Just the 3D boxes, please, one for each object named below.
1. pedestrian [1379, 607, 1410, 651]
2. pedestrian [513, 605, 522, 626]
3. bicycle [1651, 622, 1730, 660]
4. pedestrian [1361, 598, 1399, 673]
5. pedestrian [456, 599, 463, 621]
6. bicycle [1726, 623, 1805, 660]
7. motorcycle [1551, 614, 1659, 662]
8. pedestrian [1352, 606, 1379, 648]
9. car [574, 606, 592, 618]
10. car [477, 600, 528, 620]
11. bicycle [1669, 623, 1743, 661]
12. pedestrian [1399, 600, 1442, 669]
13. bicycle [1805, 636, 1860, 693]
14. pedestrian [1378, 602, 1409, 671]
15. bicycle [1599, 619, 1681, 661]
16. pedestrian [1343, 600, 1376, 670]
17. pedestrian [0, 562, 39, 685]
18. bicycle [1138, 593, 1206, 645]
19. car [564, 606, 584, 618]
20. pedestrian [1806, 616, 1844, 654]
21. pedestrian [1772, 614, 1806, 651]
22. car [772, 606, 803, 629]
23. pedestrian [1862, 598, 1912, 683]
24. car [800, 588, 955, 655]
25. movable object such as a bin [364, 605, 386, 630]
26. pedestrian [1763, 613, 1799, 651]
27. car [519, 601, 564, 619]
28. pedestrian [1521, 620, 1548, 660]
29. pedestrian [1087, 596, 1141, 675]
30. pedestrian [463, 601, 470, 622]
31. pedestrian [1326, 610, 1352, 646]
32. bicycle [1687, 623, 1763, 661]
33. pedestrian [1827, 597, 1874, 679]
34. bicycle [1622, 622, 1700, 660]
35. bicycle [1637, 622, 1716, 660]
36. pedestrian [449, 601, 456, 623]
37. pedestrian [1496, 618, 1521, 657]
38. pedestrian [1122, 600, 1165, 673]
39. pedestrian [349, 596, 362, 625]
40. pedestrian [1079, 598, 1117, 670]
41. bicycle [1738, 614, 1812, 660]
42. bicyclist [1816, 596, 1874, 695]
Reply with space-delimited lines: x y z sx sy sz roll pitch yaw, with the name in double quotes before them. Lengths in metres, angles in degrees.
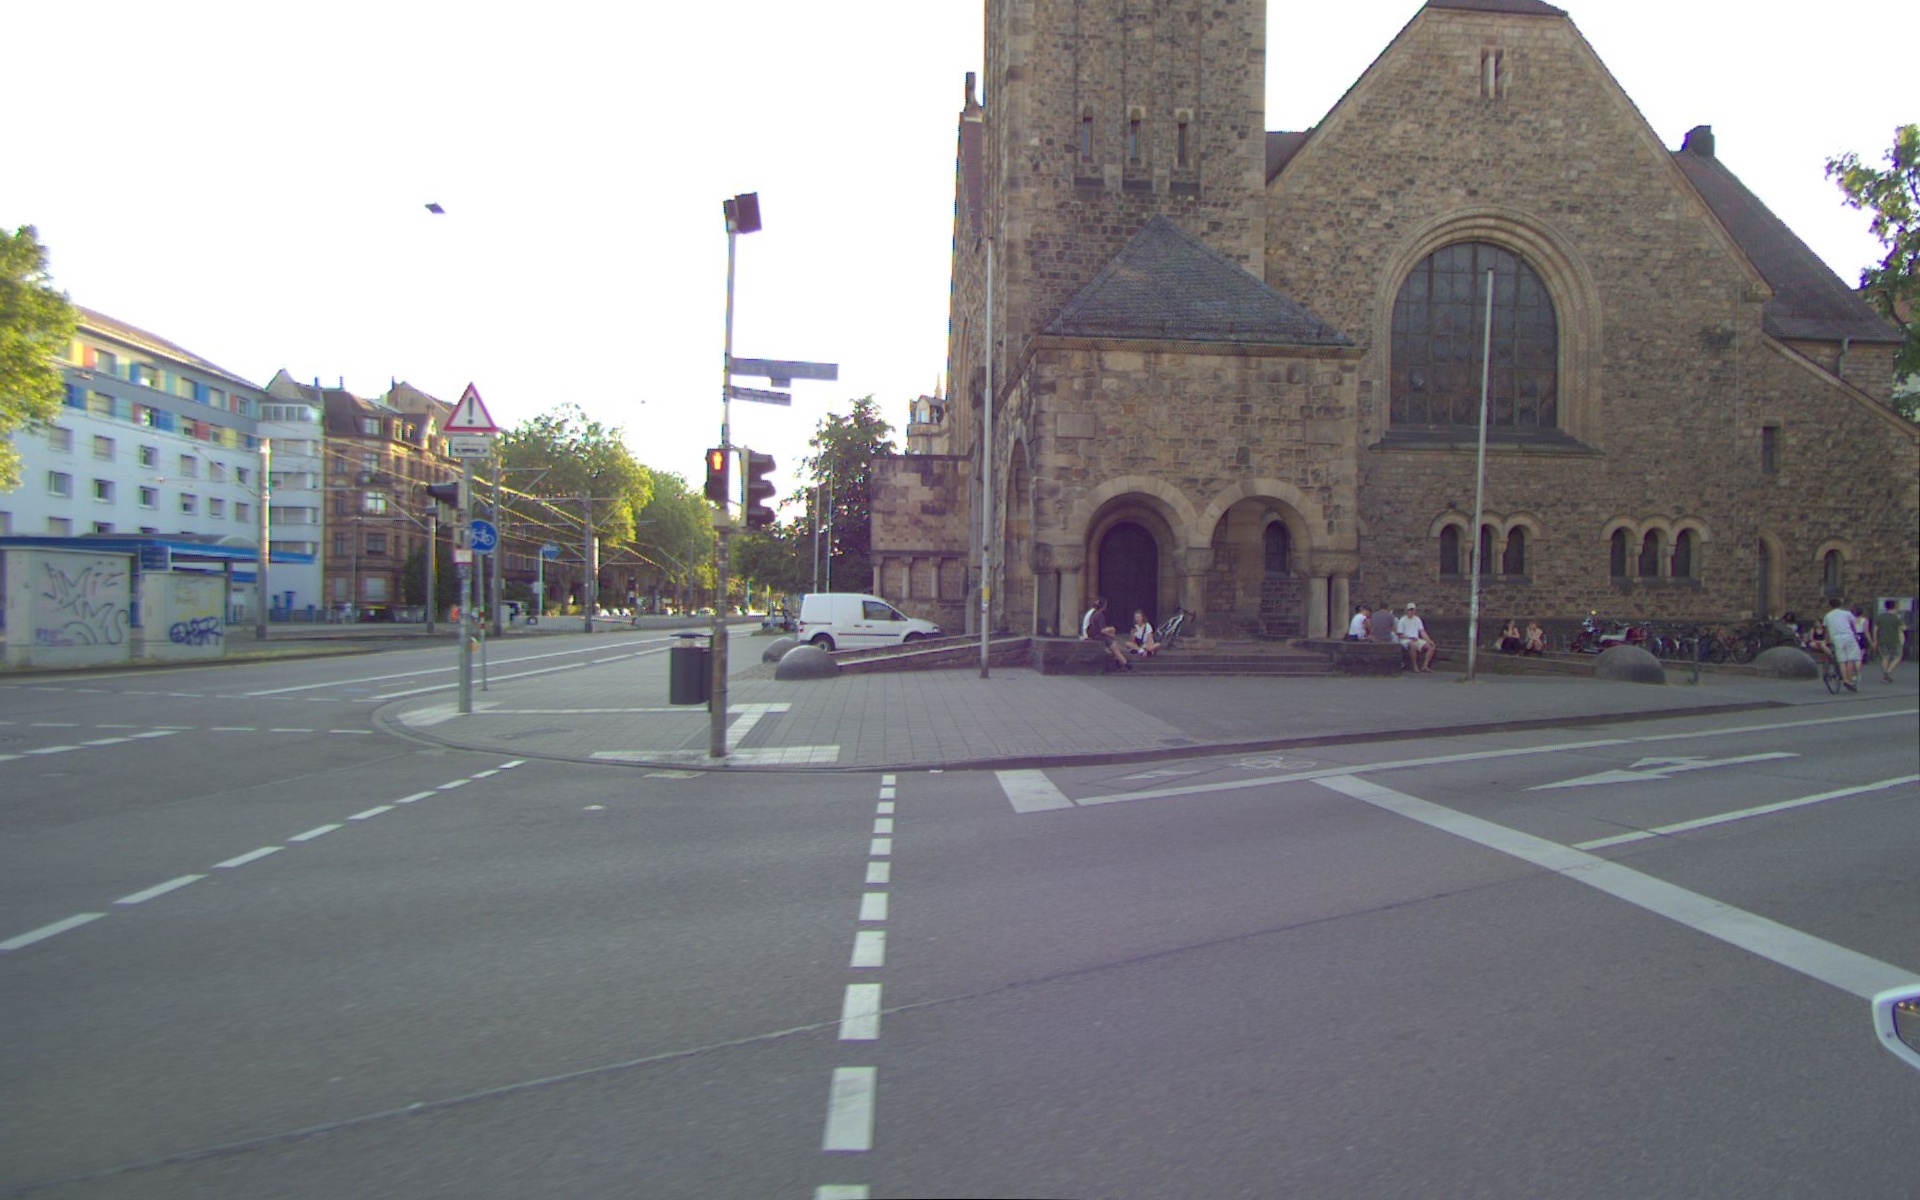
"pedestrian" 11.328 0.753 26.231 0.672 1.109 1.333 0 0 21
"pedestrian" -43.447 1.475 98.635 0.601 2.040 0.806 1 0 -7
"bicycle" 20.600 1.145 28.362 0.458 1.002 1.985 1 0 -14
"pedestrian" 8.392 0.700 20.079 0.546 1.473 0.550 1 0 6
"pedestrian" -43.264 0.874 86.831 0.446 1.850 0.550 1 0 -22
"bicycle" 22.871 1.160 28.549 0.434 1.002 1.879 1 0 -14
"motorcycle" 17.495 1.014 27.325 0.811 1.141 2.407 1 2 -25
"pedestrian" 10.728 0.701 26.574 0.635 1.090 0.830 0 0 21
"car" -47.474 1.490 126.596 1.480 1.415 3.224 1 -1 -8
"car" -47.755 1.022 104.966 4.409 2.040 1.998 0 0 -7
"bicycle" 21.087 1.163 28.429 0.364 1.002 1.879 1 0 -14
"pedestrian" 9.708 0.722 21.205 0.619 1.425 0.704 1 0 6
"bicycle" 17.652 1.281 20.300 2.171 1.026 0.546 0 1 -42
"pedestrian" 9.125 0.756 21.137 0.449 1.425 0.548 1 0 6
"bicycle" 18.966 1.105 28.082 0.576 1.003 2.002 1 2 -14
"pedestrian" 8.205 0.716 20.629 0.537 1.425 0.402 1 0 6
"pedestrian" -15.188 0.362 15.553 1.139 1.871 0.710 0 0 -9
"bicycle" 4.589 0.415 21.895 0.584 1.071 2.281 1 -1 -11
"car" -47.095 1.498 122.542 1.480 1.415 3.224 1 -1 -8
"pedestrian" 24.968 1.000 28.983 0.688 1.070 0.516 1 0 -13
"pedestrian" 24.478 0.947 29.646 0.596 1.062 0.498 1 0 -9
"car" -12.066 1.190 70.310 1.799 1.572 3.914 0 -1 -5
"pedestrian" 21.370 0.913 23.156 0.881 1.904 0.643 1 0 -33
"car" -2.357 0.624 29.060 4.321 1.832 1.584 1 0 -3
"movable object such as a bin" -48.330 1.459 82.999 1.478 2.040 1.347 1 0 -33
"pedestrian" 23.888 0.924 29.231 0.726 1.062 0.519 1 0 31
"car" -47.835 1.156 114.856 4.299 2.040 1.997 1 0 -9
"pedestrian" 14.772 1.017 25.831 0.551 1.005 0.695 0 0 27
"pedestrian" 2.921 0.669 19.137 0.897 1.473 0.630 1 0 -3
"pedestrian" -42.628 0.998 86.791 0.446 1.850 0.550 1 0 -22
"pedestrian" 10.034 0.725 26.594 0.635 0.928 0.740 0 0 21
"bicycle" 21.591 1.171 28.389 0.364 1.002 1.879 1 0 -14
"pedestrian" 21.012 0.881 23.696 0.978 1.881 0.569 1 0 -33
"bicycle" 19.618 1.139 28.171 0.458 1.002 2.002 1 0 -14
"bicycle" 20.116 1.146 28.242 0.458 1.002 2.002 1 0 -14
"pedestrian" -43.707 1.021 86.546 0.446 1.850 0.550 1 0 -22
"pedestrian" 14.221 0.973 26.057 0.551 0.980 0.649 0 0 27
"pedestrian" 3.614 0.699 19.763 0.686 1.393 0.803 0 0 22
"pedestrian" -43.354 0.756 72.071 0.547 2.040 0.608 1 0 -4
"pedestrian" 2.737 0.660 19.945 0.685 1.393 0.804 1 0 4
"bicycle" 23.285 1.026 28.737 0.430 1.265 1.728 0 0 -15
"bicyclist" 17.709 0.886 20.101 0.935 1.905 0.699 0 1 -41
